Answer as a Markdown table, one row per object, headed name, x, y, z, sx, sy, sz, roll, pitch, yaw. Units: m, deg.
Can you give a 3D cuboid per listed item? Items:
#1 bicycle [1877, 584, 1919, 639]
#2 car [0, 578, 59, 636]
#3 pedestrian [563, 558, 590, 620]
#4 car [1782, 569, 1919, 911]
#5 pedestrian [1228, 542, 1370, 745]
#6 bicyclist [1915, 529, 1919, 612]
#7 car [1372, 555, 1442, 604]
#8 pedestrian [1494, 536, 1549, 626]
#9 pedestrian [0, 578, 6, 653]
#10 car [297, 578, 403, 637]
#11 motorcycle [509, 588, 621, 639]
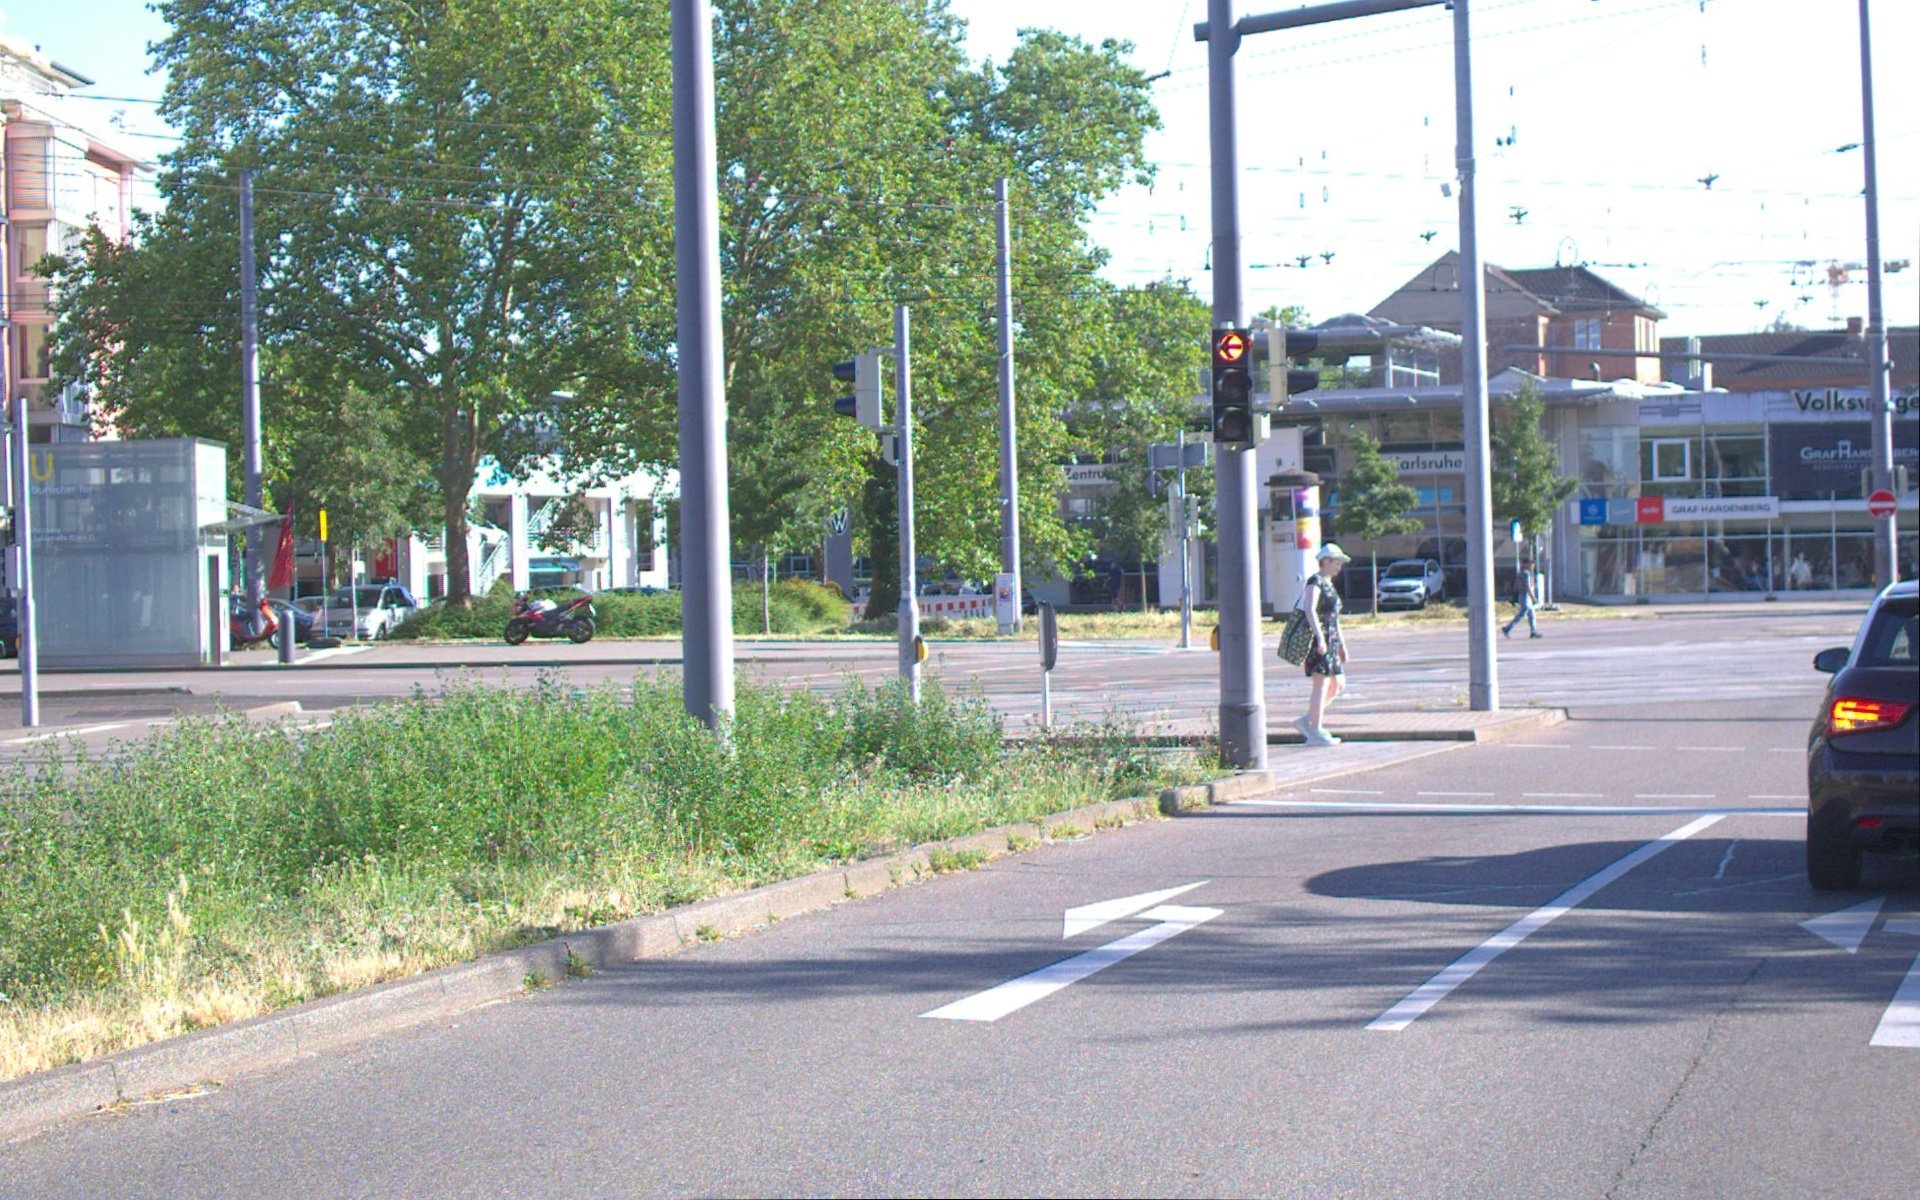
| name | x | y | z | sx | sy | sz | roll | pitch | yaw |
| --- | --- | --- | --- | --- | --- | --- | --- | --- | --- |
| bicycle | 18.464 | 0.200 | 64.190 | 2.438 | 1.000 | 0.963 | -1 | 0 | 4 |
| car | -25.122 | 0.197 | 87.429 | 3.986 | 1.417 | 1.813 | -1 | 0 | -3 |
| pedestrian | -12.449 | -0.357 | 111.550 | 0.589 | 2.007 | 0.710 | -1 | 0 | 19 |
| car | 5.062 | 0.589 | 16.467 | 1.802 | 1.439 | 3.974 | 1 | 1 | 19 |
| pedestrian | 2.747 | 0.342 | 27.806 | 1.093 | 1.601 | 0.698 | 0 | 2 | 9 |
| bicyclist | 18.411 | -0.563 | 64.177 | 0.923 | 1.554 | 0.963 | -1 | 0 | 4 |
| car | 15.463 | -0.723 | 118.679 | 1.995 | 1.529 | 3.998 | 0 | 2 | 13 |
| pedestrian | 11.559 | -0.393 | 70.804 | 0.990 | 1.810 | 0.919 | 0 | 2 | 17 |
| pedestrian | -21.973 | 0.358 | 77.273 | 0.776 | 1.670 | 0.783 | -1 | 0 | 2 |
| car | -15.747 | 0.170 | 88.944 | 1.847 | 1.447 | 4.000 | -1 | 1 | 3 |
| motorcycle | -8.495 | 0.279 | 73.927 | 2.285 | 1.050 | 0.687 | 0 | 2 | 6 |
